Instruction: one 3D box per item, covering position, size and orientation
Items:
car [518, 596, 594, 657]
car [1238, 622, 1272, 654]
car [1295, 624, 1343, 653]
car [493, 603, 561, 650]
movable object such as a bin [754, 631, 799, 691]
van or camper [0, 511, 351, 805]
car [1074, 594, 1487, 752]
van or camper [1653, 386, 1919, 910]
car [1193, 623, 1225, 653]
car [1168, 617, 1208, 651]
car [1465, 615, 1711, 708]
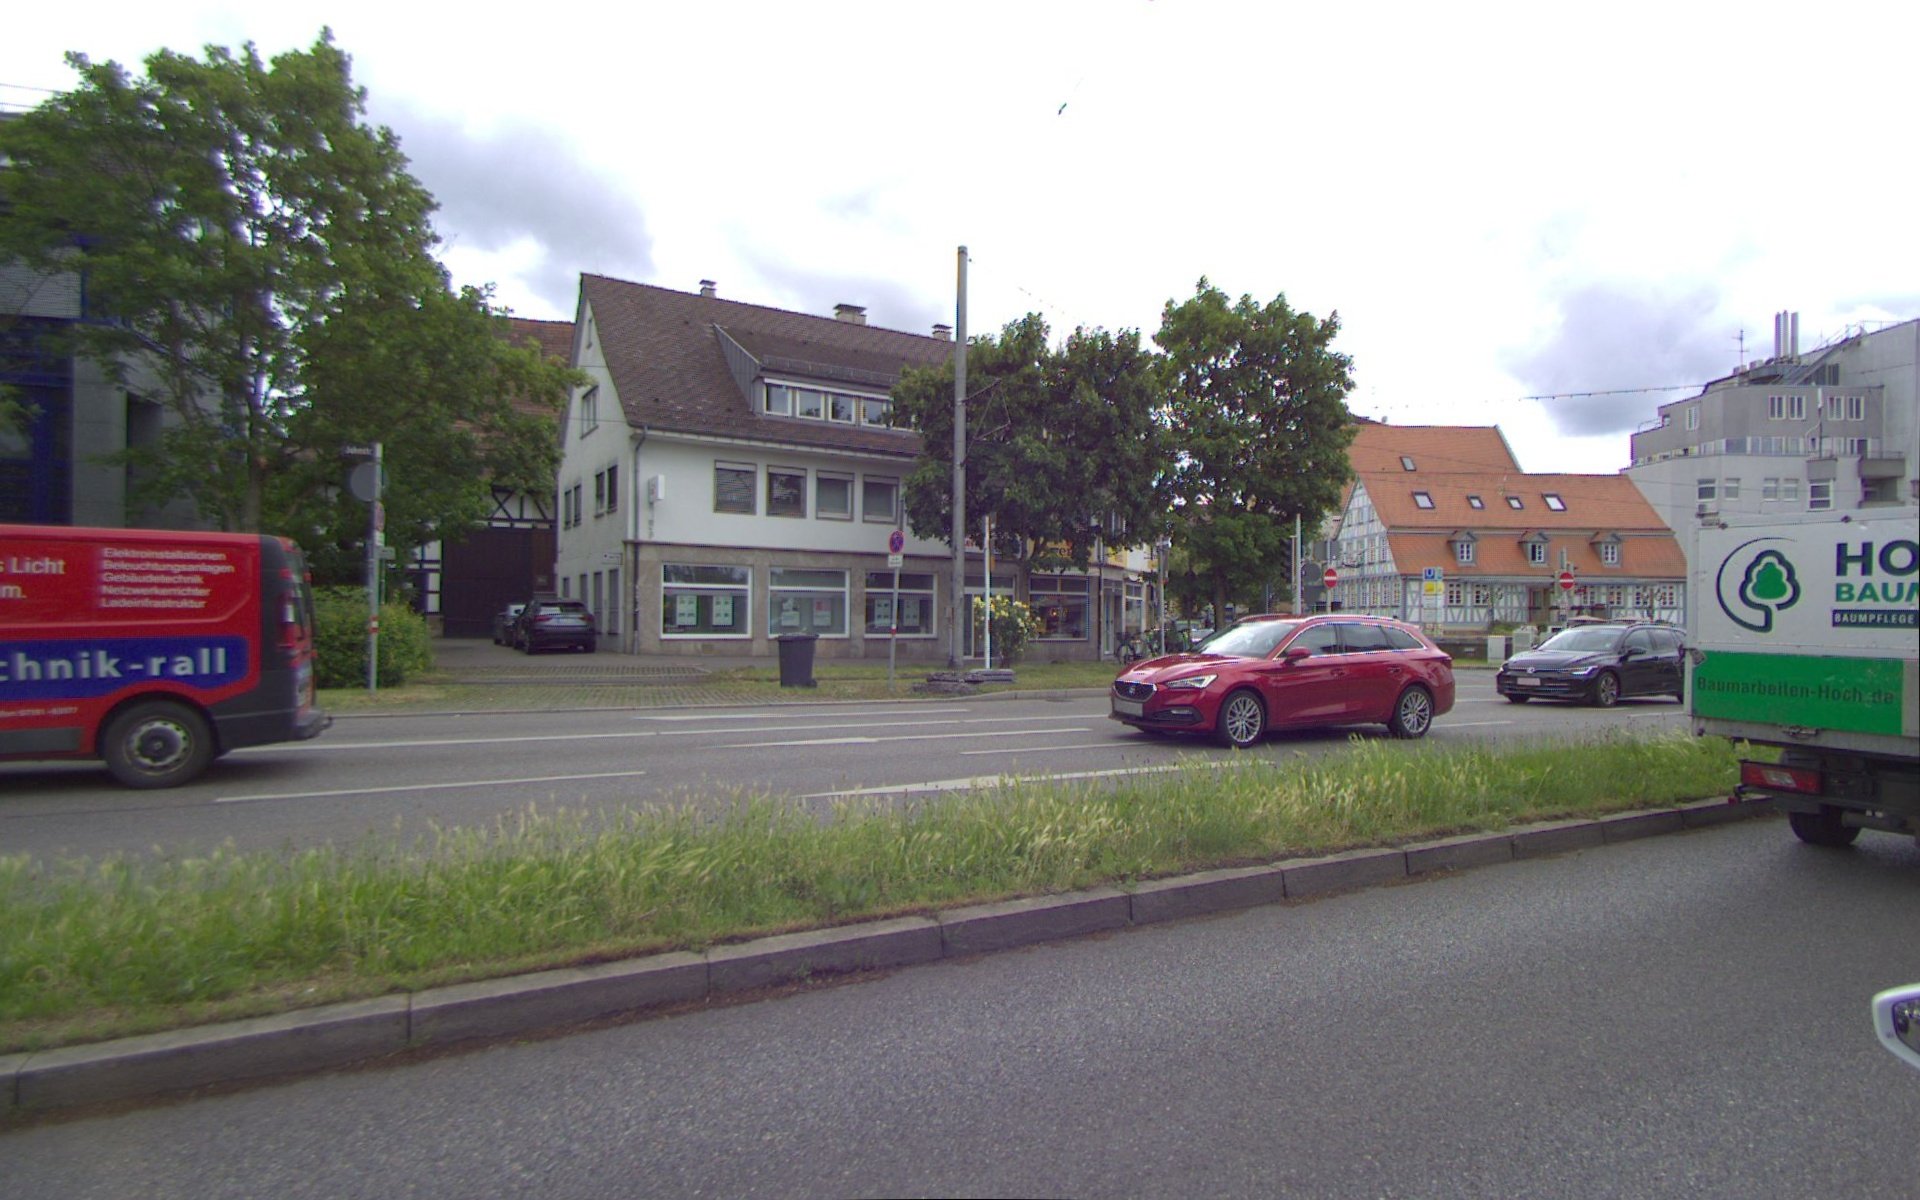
[{"bbox_3d":[-11.773,0.721,29.163,1.699,1.632,3.671,1,0,-28],"label":"car"},{"bbox_3d":[17.484,2.250,59.597,1.815,1.606,3.608,-1,2,14],"label":"car"},{"bbox_3d":[21.844,2.319,61.278,1.959,1.706,4.003,0,-1,7],"label":"car"},{"bbox_3d":[-14.648,0.856,33.901,1.662,1.477,3.650,1,0,-31],"label":"car"},{"bbox_3d":[-3.426,1.125,18.740,0.590,1.056,0.688,0,0,-35],"label":"movable object such as a bin"},{"bbox_3d":[-7.668,0.393,7.561,5.132,2.040,1.985,1,0,-28],"label":"van or camper"},{"bbox_3d":[3.932,0.780,12.238,4.770,1.611,1.987,0,-1,-26],"label":"car"},{"bbox_3d":[7.450,0.228,6.718,5.894,2.698,2.332,0,1,-30],"label":"van or camper"},{"bbox_3d":[14.960,2.271,60.279,1.815,1.606,3.608,-1,1,14],"label":"car"},{"bbox_3d":[15.429,2.287,68.163,2.200,2.090,4.409,-1,0,7],"label":"car"},{"bbox_3d":[11.623,1.046,18.564,4.339,1.520,1.986,0,0,-28],"label":"car"}]
